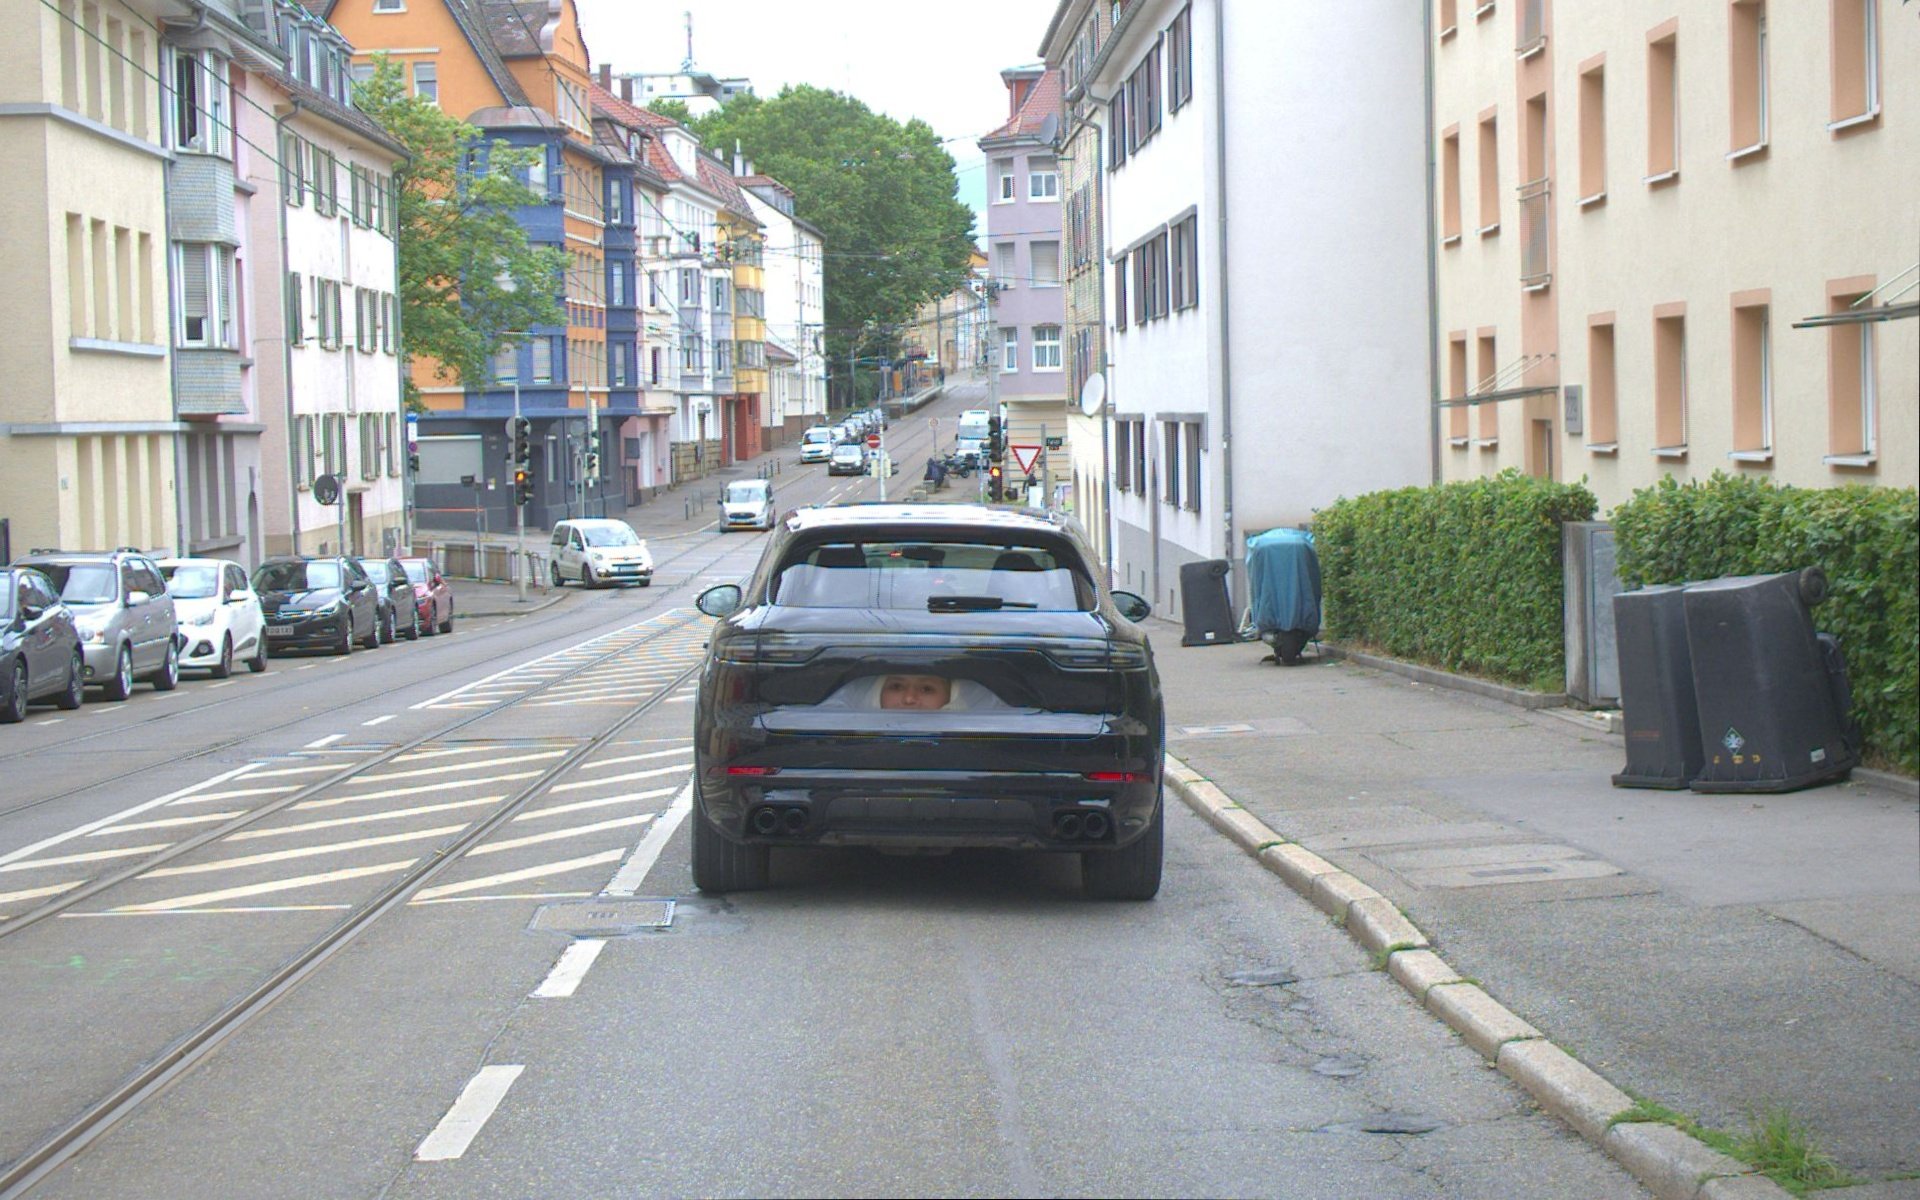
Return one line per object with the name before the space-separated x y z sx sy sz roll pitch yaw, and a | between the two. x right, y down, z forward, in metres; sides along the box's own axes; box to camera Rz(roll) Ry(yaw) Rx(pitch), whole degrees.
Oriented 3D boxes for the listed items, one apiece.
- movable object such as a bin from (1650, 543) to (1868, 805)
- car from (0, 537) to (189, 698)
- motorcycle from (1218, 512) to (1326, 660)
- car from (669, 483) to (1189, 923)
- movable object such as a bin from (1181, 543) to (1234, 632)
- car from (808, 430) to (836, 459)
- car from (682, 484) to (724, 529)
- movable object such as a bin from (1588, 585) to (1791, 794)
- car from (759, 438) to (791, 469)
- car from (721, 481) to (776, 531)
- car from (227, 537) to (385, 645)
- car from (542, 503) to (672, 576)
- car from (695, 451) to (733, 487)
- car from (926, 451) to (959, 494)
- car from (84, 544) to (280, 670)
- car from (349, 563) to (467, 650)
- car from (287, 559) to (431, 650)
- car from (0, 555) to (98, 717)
movable object such as a bin | 3.863 0.346 16.666 0.792 1.214 0.789 -2 1 -5
car | -9.589 0.183 37.226 1.620 1.599 4.351 -2 0 -2
motorcycle | 3.209 -0.157 35.556 0.838 1.451 2.553 -2 1 0
car | -0.170 0.379 15.478 1.993 1.670 4.000 -2 1 -1
movable object such as a bin | 3.054 -0.156 42.431 0.588 1.076 0.692 -2 1 1
car | -7.515 -8.443 187.142 1.394 1.445 3.359 -2 1 0
car | -10.200 -3.714 136.724 1.394 1.716 3.359 -2 1 0
movable object such as a bin | 3.696 0.444 17.465 0.792 1.008 0.789 -2 1 -5
car | -9.195 -7.284 171.081 1.394 1.445 3.359 -2 1 0
car | -7.845 -3.475 127.900 1.751 1.754 4.254 -2 1 0
car | -9.747 -0.131 51.536 1.620 1.468 4.556 -2 0 -2
car | -9.435 -1.603 91.672 1.921 1.812 4.218 -2 1 -28
car | -10.707 -5.681 149.649 1.394 1.445 3.359 -2 1 0
car | -0.778 -5.552 149.982 1.394 1.716 3.359 -2 1 0
car | -9.749 0.078 43.302 1.620 1.458 3.685 -2 0 -1
car | -10.098 0.117 63.166 1.620 1.485 4.047 -2 0 -2
car | -9.989 0.047 57.401 1.736 1.405 4.000 -2 1 -1
car | -9.479 0.353 32.770 1.620 1.458 4.033 -2 0 -2
